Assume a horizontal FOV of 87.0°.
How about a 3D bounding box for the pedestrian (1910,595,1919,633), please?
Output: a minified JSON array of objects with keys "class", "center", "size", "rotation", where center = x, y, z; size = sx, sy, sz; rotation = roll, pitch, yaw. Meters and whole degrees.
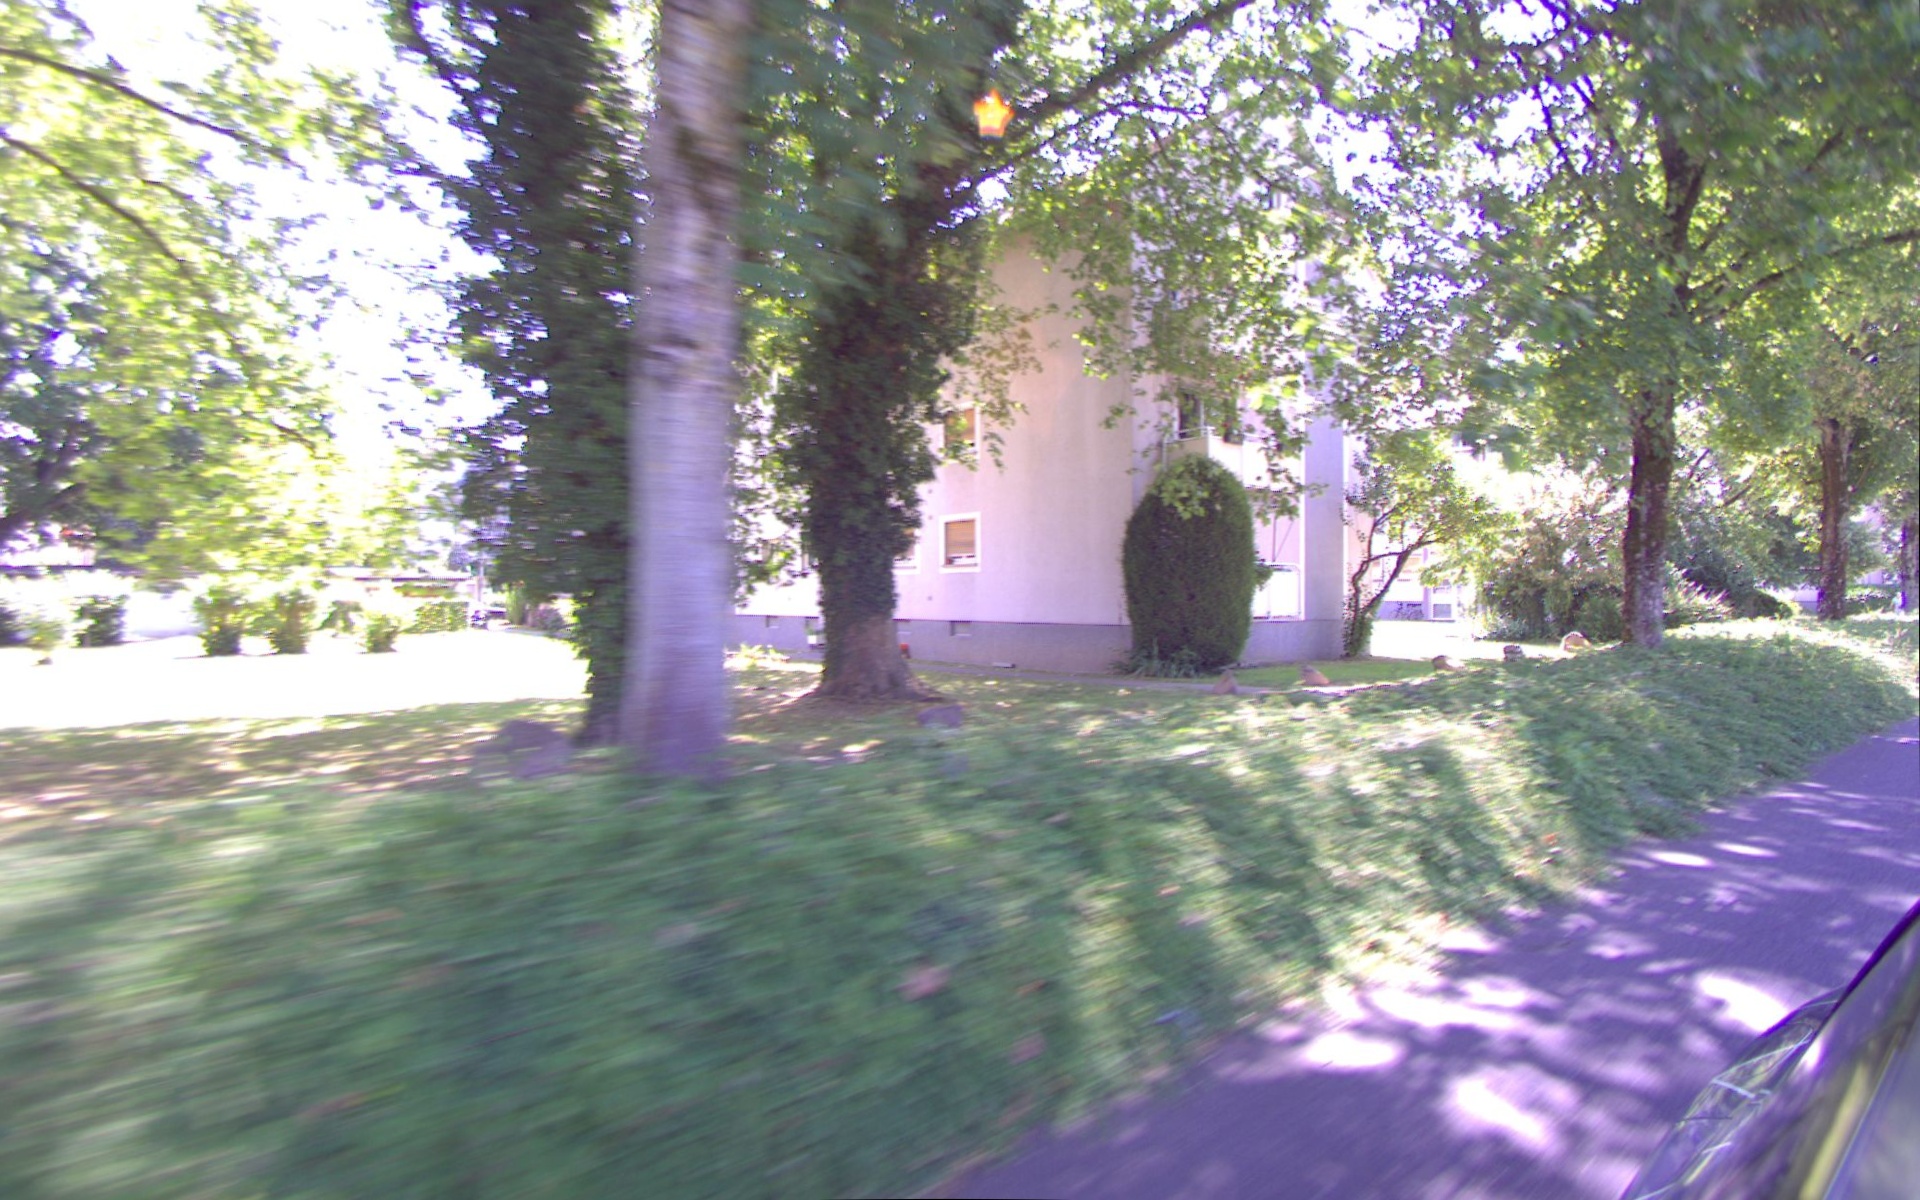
[{"class":"pedestrian","center":[49.368,0.712,52.026],"size":[0.610,1.950,0.677],"rotation":[0,0,-40]}]
